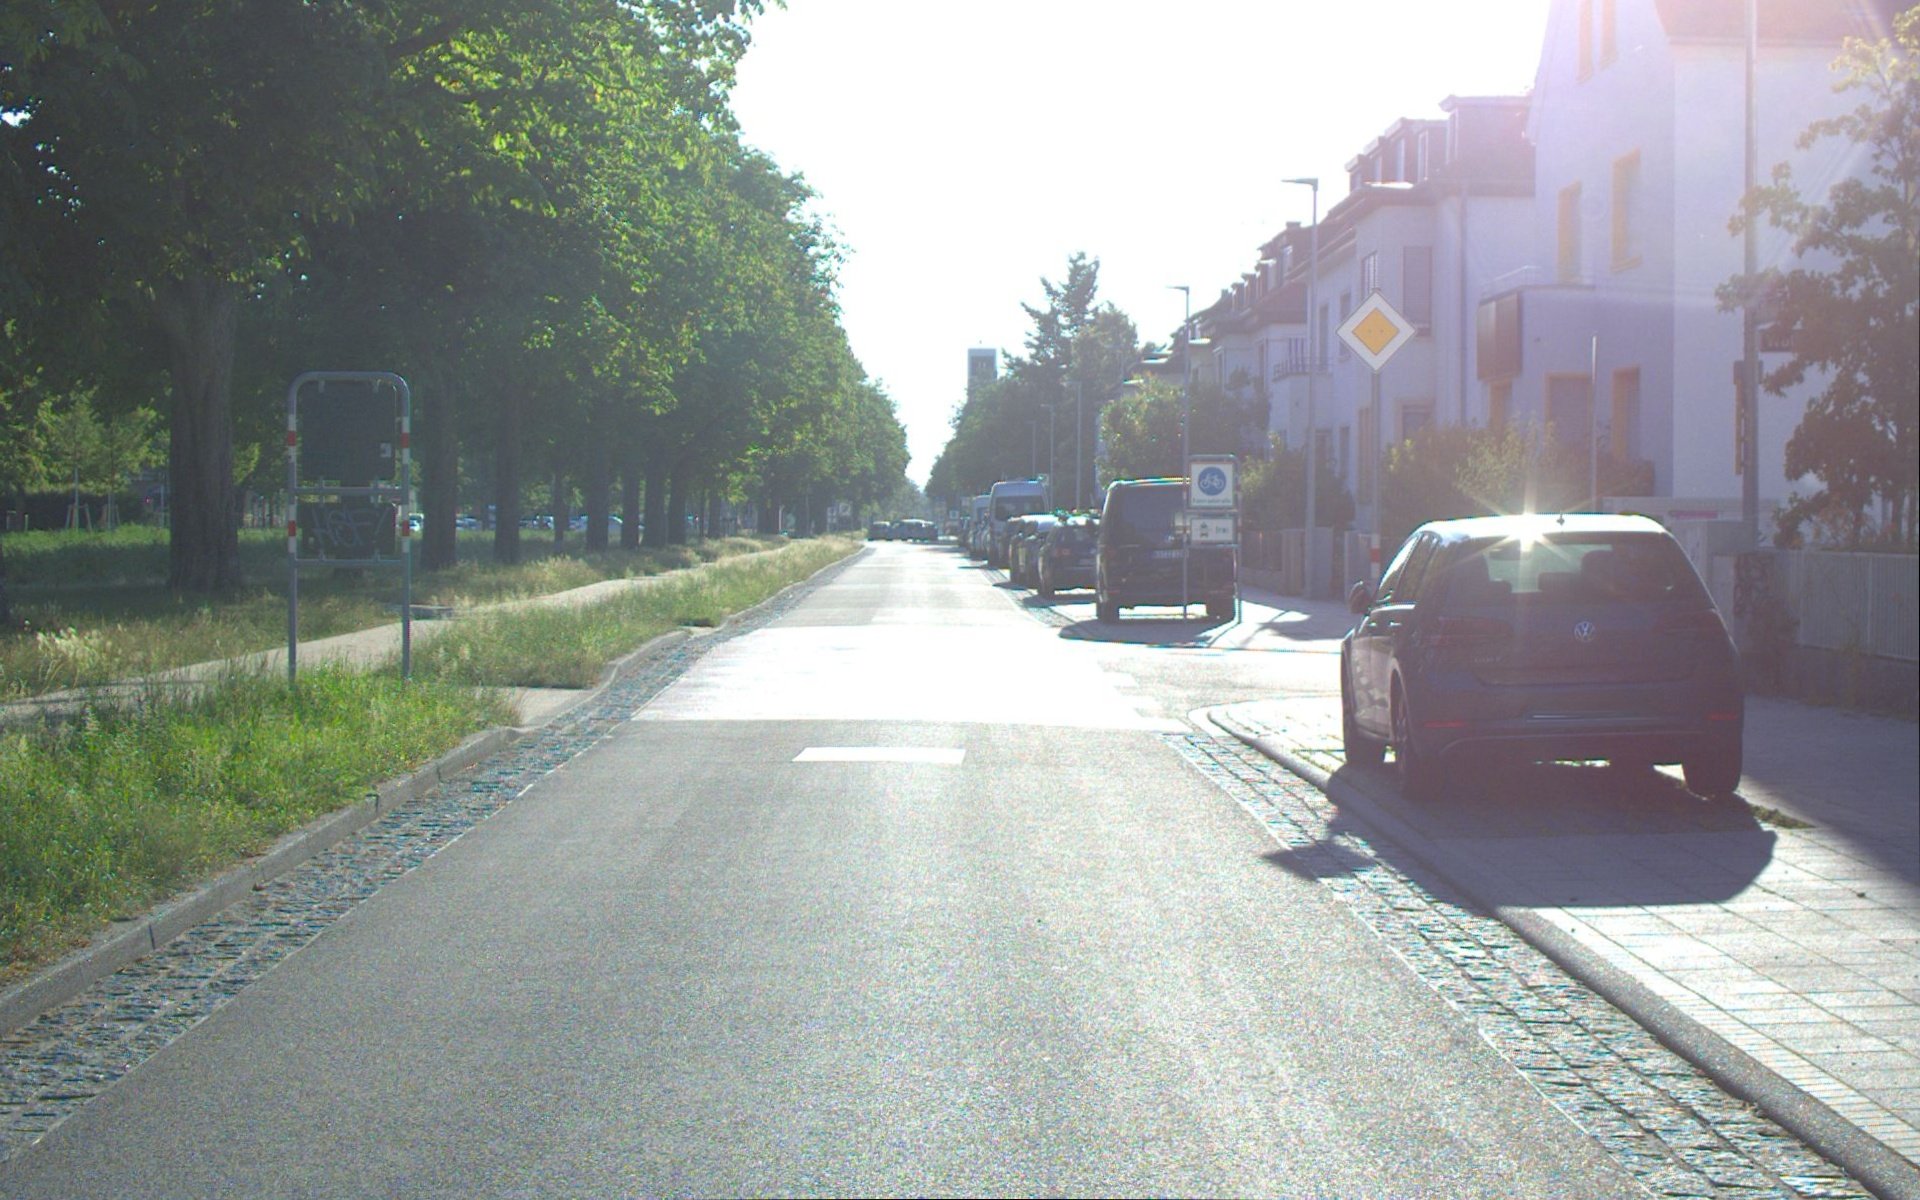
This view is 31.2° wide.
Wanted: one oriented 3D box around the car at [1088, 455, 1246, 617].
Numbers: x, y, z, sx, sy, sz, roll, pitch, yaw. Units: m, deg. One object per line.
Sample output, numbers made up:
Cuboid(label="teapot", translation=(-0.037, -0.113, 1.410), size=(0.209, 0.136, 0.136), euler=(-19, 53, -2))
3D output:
Cuboid(label="car", translation=(2.892, -0.941, 48.902), size=(1.906, 2.124, 4.815), euler=(-2, 2, 0))

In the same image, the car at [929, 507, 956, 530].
Cuboid(label="car", translation=(-1.231, -5.866, 247.107), size=(1.863, 1.591, 3.894), euler=(0, 3, -1))

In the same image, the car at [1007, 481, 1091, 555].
Cuboid(label="car", translation=(2.127, -2.003, 83.208), size=(1.832, 1.679, 4.416), euler=(2, 2, 0))

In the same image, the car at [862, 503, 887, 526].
Cuboid(label="car", translation=(-6.239, -6.256, 251.553), size=(1.650, 1.525, 3.851), euler=(3, 2, 1))

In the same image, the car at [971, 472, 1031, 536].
Cuboid(label="car", translation=(1.645, -3.939, 140.897), size=(2.126, 2.524, 5.189), euler=(-1, 2, -2))

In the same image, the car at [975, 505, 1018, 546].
Cuboid(label="car", translation=(1.425, -2.939, 134.598), size=(1.650, 1.525, 3.851), euler=(-1, 2, 1))

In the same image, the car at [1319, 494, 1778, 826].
Cuboid(label="car", translation=(3.106, 0.232, 18.941), size=(1.794, 1.477, 4.124), euler=(-3, 3, 0))

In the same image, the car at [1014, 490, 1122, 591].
Cuboid(label="car", translation=(2.018, -1.162, 65.284), size=(1.794, 1.765, 4.473), euler=(-2, 2, -1))

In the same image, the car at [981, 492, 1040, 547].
Cuboid(label="car", translation=(1.510, -2.438, 104.099), size=(1.663, 1.587, 4.086), euler=(1, 1, 0))

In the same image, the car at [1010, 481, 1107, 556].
Cuboid(label="car", translation=(2.195, -1.831, 77.350), size=(1.717, 1.568, 4.211), euler=(-2, 1, -4))

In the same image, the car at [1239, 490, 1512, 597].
Cuboid(label="car", translation=(6.859, -0.947, 56.962), size=(4.216, 1.720, 1.853), euler=(0, 1, -4))

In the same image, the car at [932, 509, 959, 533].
Cuboid(label="car", translation=(-0.954, -5.267, 228.466), size=(1.650, 1.525, 3.851), euler=(2, 2, 1))

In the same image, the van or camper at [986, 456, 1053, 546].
Cuboid(label="van or camper", translation=(1.881, -3.145, 110.428), size=(1.943, 2.768, 5.940), euler=(1, 1, 0))

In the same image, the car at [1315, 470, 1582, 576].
Cuboid(label="car", translation=(8.310, -1.318, 58.702), size=(4.216, 1.720, 1.853), euler=(-1, 1, -4))

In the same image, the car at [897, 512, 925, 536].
Cuboid(label="car", translation=(-3.377, -5.215, 236.820), size=(1.863, 1.591, 3.870), euler=(1, 1, -1))
